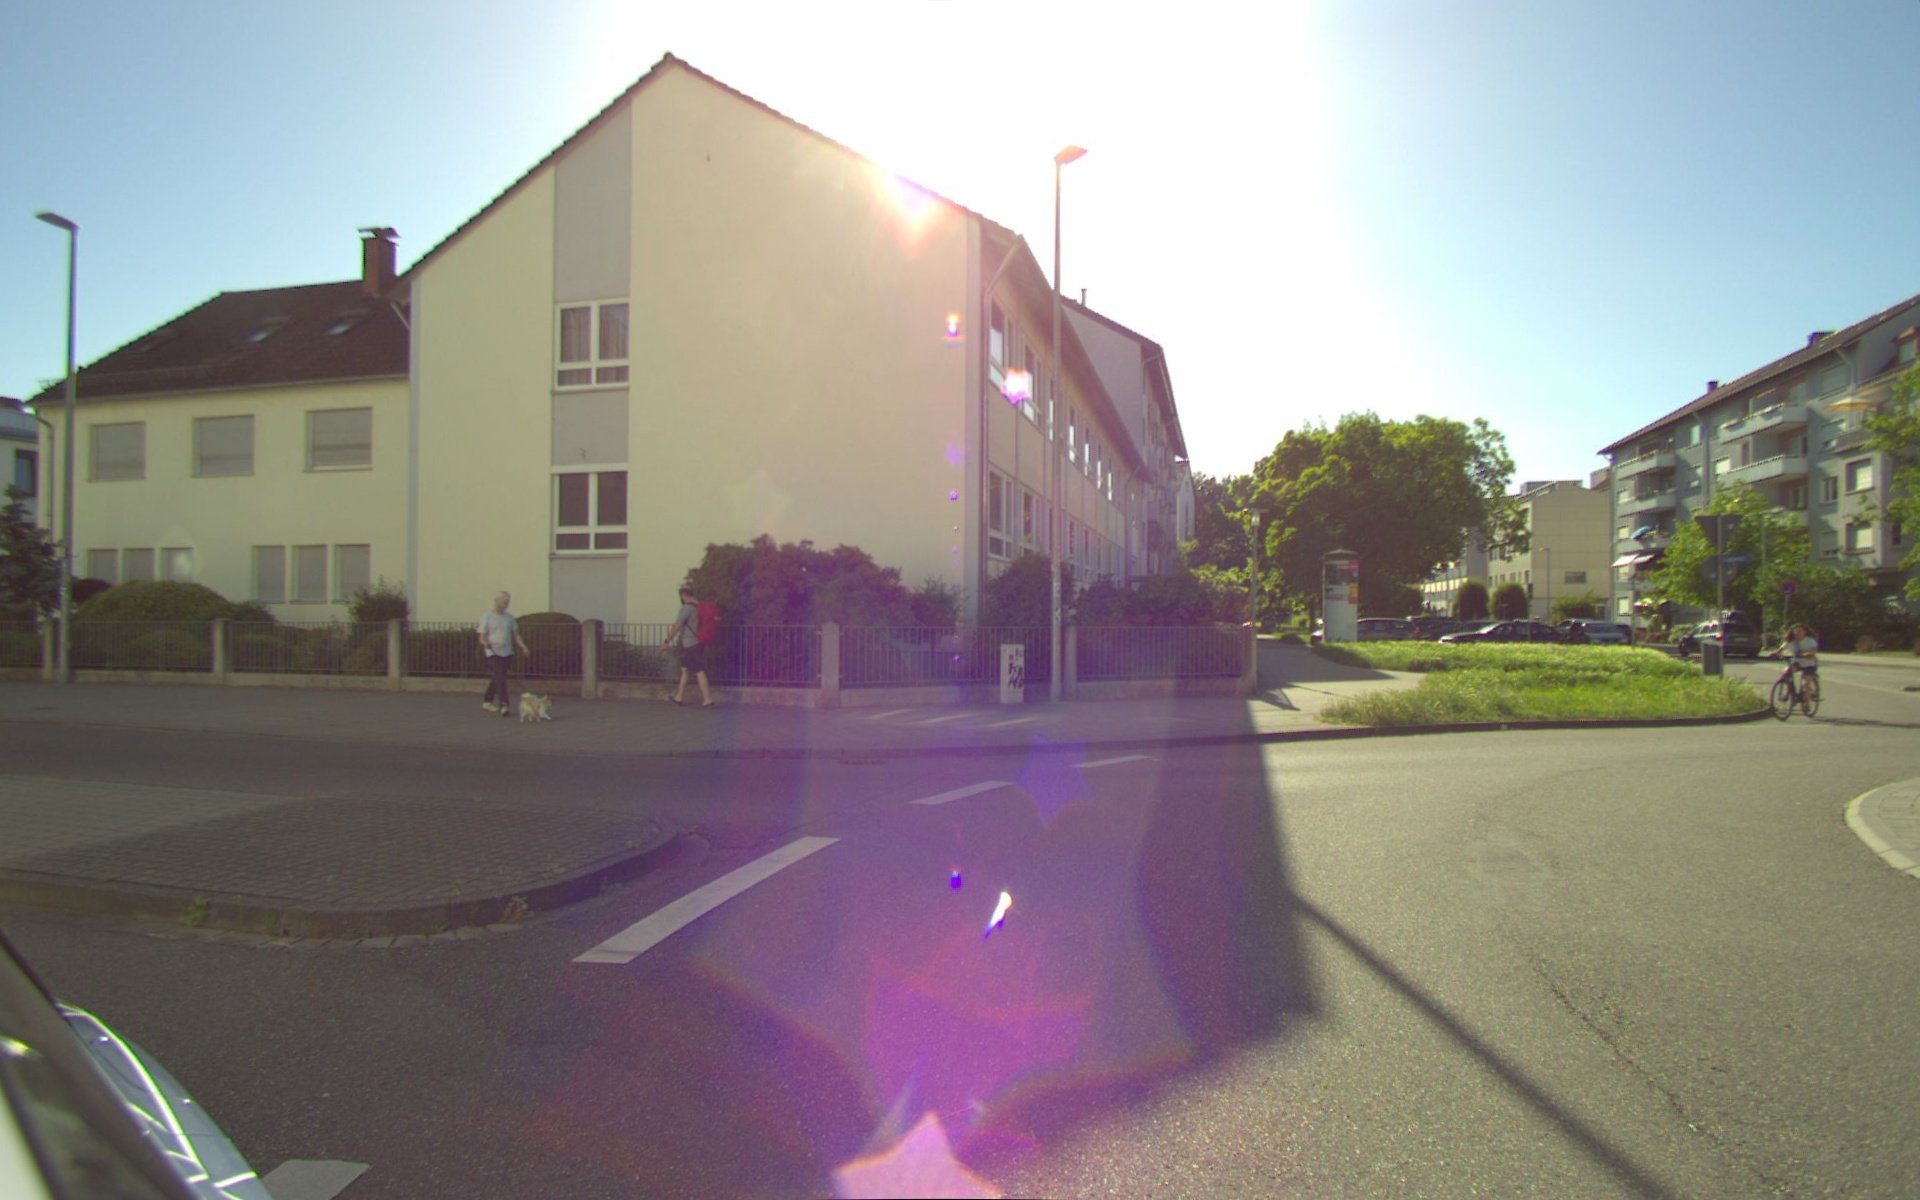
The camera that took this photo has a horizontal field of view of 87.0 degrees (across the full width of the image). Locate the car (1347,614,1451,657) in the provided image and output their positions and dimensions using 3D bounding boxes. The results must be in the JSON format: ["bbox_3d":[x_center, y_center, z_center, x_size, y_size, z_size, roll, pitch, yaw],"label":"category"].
[{"bbox_3d":[18.747,1.484,43.337,3.974,1.785,1.984,0,-1,23],"label":"car"}]

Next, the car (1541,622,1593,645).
[{"bbox_3d":[38.321,2.073,64.011,1.835,1.390,3.979,0,-1,16],"label":"car"}]

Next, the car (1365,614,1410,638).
[{"bbox_3d":[27.758,1.673,65.805,1.831,1.534,3.987,0,-1,10],"label":"car"}]

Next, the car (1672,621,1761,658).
[{"bbox_3d":[33.607,1.716,45.098,1.835,1.550,3.979,0,-1,16],"label":"car"}]

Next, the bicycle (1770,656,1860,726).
[{"bbox_3d":[14.710,1.522,17.389,2.175,1.022,0.813,0,0,-40],"label":"bicycle"}]

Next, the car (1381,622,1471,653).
[{"bbox_3d":[23.213,1.833,50.593,3.974,1.475,1.984,0,-1,23],"label":"car"}]

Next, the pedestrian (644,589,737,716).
[{"bbox_3d":[-3.789,0.707,14.276,0.991,1.718,0.813,0,0,23],"label":"pedestrian"}]

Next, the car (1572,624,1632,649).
[{"bbox_3d":[36.621,2.070,57.852,1.835,1.390,3.979,0,-1,16],"label":"car"}]

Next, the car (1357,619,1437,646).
[{"bbox_3d":[24.648,1.839,57.253,3.967,1.475,1.816,0,-1,18],"label":"car"}]

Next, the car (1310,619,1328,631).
[{"bbox_3d":[44.058,3.060,124.353,1.835,1.390,3.979,0,-1,16],"label":"car"}]

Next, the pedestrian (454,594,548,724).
[{"bbox_3d":[-6.282,0.778,13.863,0.990,1.718,0.687,0,0,22],"label":"pedestrian"}]

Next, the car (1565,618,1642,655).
[{"bbox_3d":[31.485,1.771,49.655,1.863,1.708,4.254,-1,-1,14],"label":"car"}]

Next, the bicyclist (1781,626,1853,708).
[{"bbox_3d":[14.706,1.125,17.378,0.812,1.322,0.813,0,0,-40],"label":"bicyclist"}]
